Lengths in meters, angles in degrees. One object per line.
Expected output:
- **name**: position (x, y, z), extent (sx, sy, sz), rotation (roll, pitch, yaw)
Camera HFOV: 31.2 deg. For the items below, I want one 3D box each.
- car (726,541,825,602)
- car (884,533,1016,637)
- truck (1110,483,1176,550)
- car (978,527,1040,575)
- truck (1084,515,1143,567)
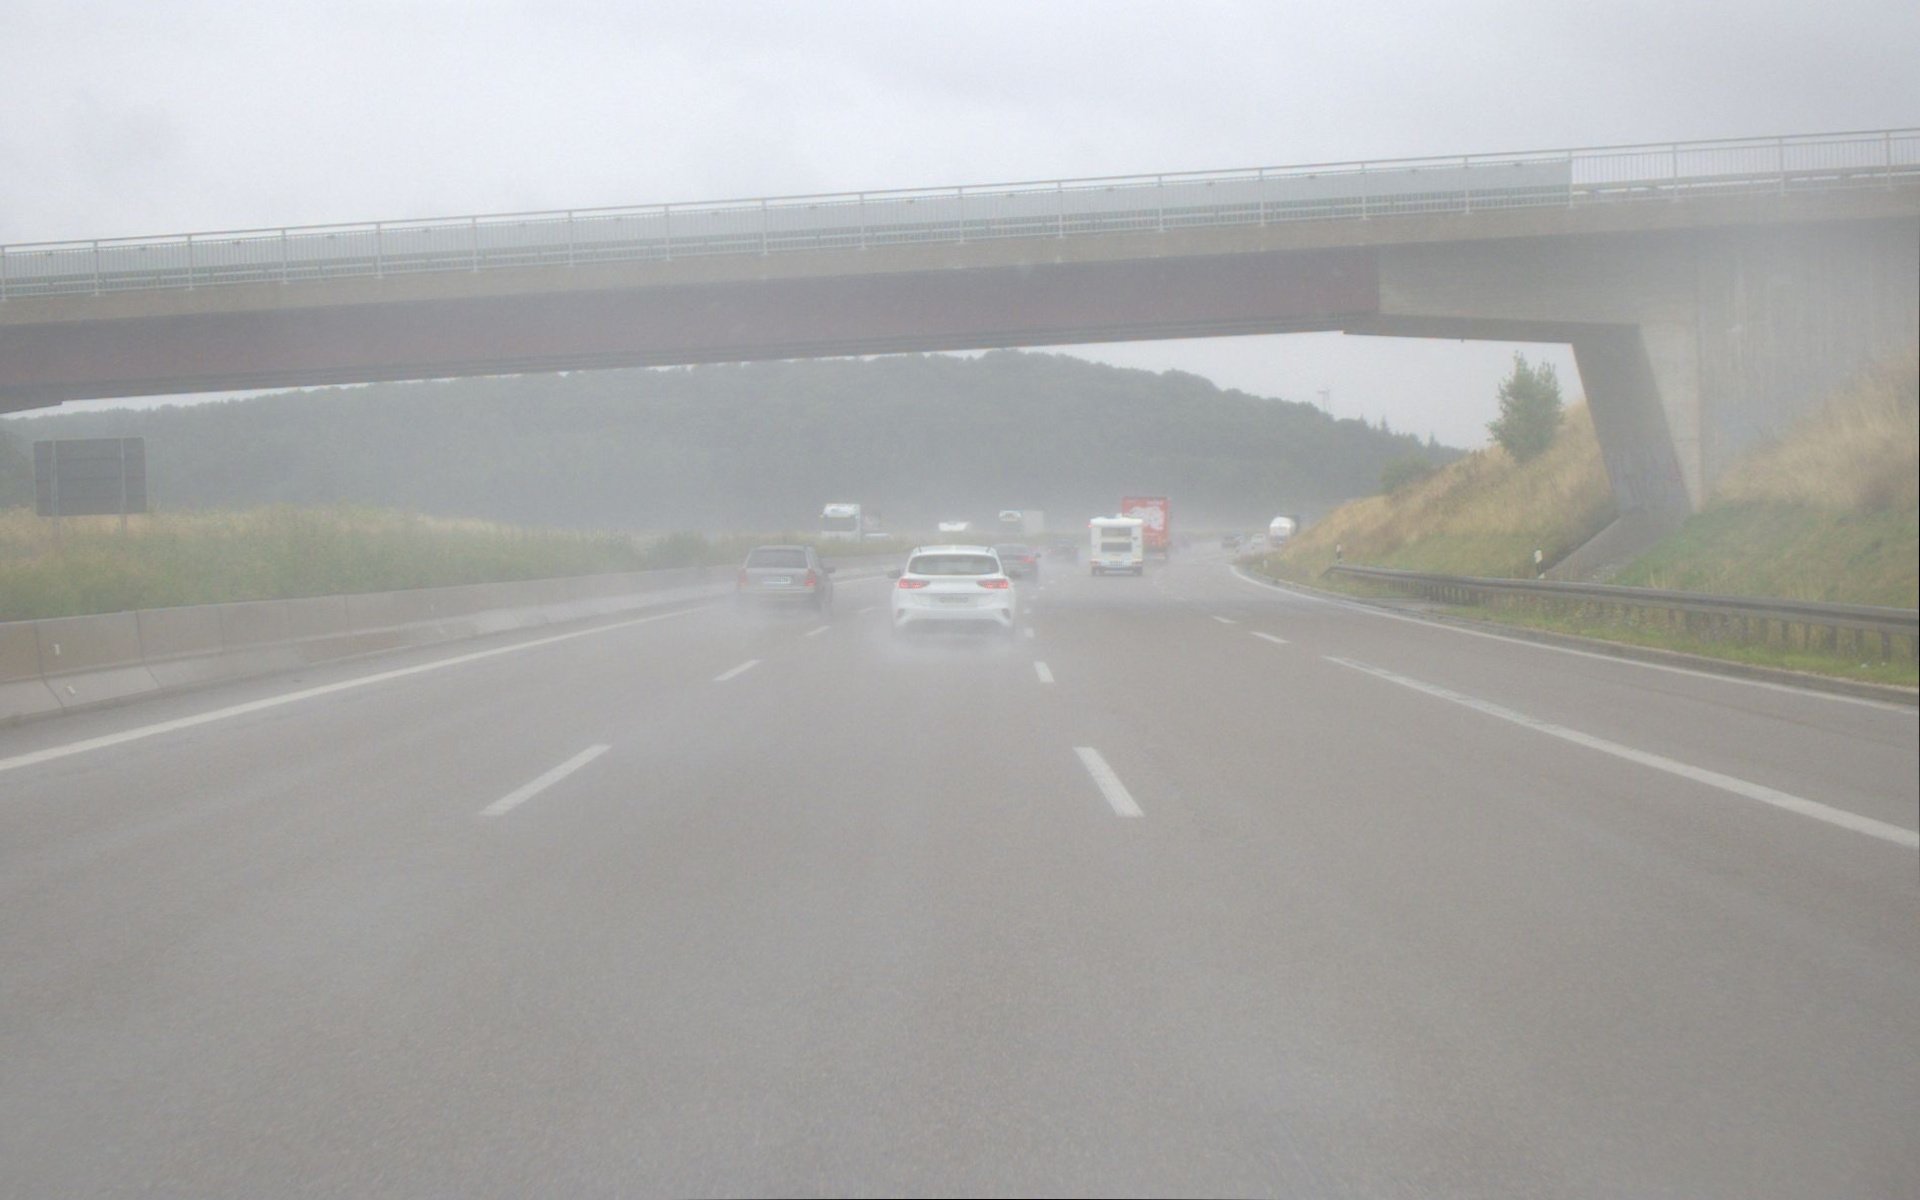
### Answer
- **car**: position (-3.642, -0.542, 68.372), extent (1.823, 1.152, 4.213), rotation (1, 0, -1)
- **car**: position (-0.179, -0.234, 50.702), extent (1.867, 1.458, 4.000), rotation (0, 0, -1)
- **truck**: position (10.593, -4.896, 200.027), extent (3.527, 3.730, 11.426), rotation (1, 2, 2)
- **car**: position (1.685, -1.693, 117.365), extent (1.994, 1.612, 4.000), rotation (0, 1, 2)
- **truck**: position (6.667, -2.565, 149.189), extent (2.408, 2.244, 4.692), rotation (0, 1, 4)
